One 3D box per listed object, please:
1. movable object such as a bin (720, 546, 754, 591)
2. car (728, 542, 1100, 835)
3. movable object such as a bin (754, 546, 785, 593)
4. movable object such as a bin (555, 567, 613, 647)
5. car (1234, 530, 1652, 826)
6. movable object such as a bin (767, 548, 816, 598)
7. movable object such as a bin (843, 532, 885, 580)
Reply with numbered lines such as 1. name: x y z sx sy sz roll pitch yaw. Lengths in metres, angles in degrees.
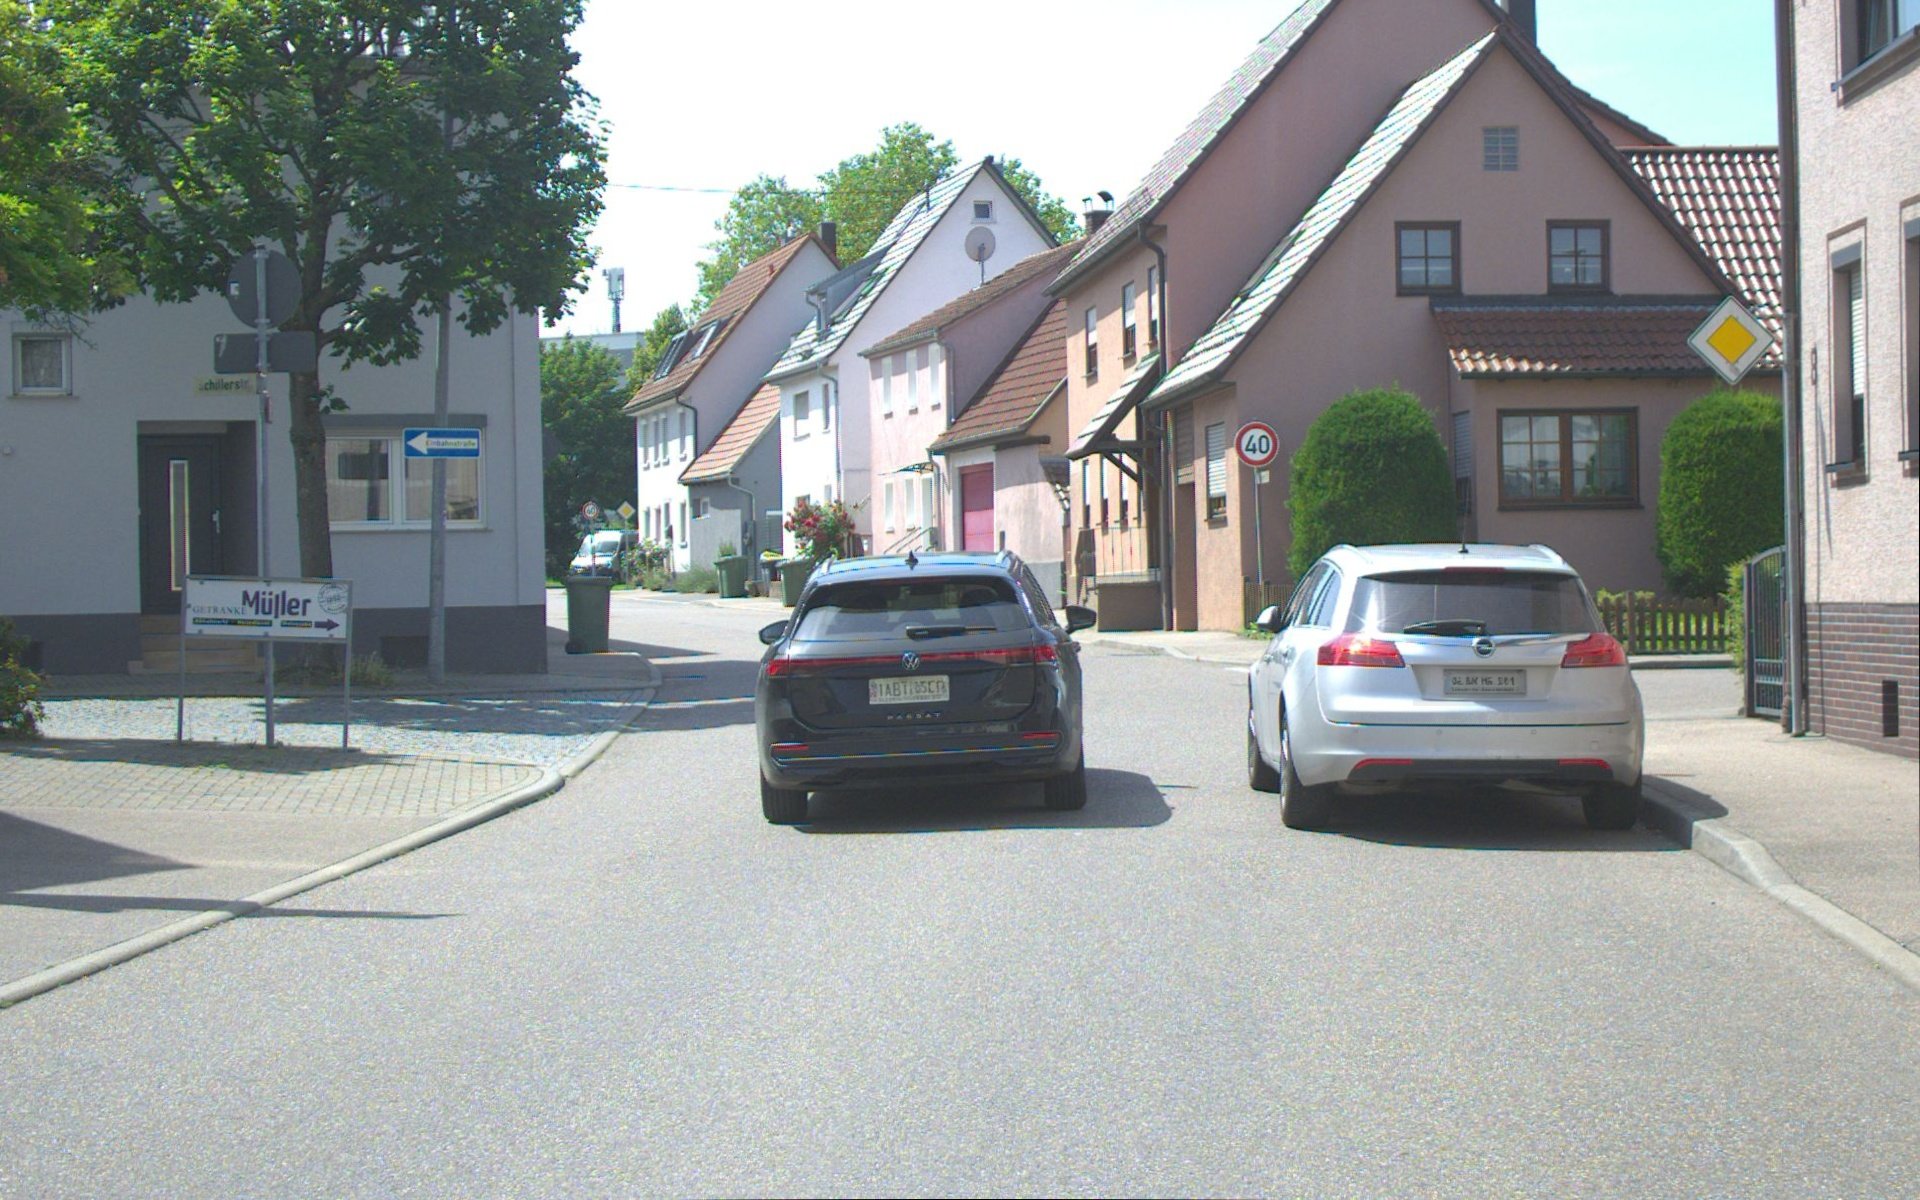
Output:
1. movable object such as a bin: -5.739 -0.811 88.482 0.678 1.151 0.820 0 0 -18
2. car: -0.262 0.412 19.923 1.841 1.415 4.683 -3 1 -1
3. movable object such as a bin: -4.900 -0.782 88.398 0.664 1.190 0.660 0 1 -14
4. movable object such as a bin: -5.052 0.085 46.140 0.753 1.056 0.680 0 1 -7
5. car: 2.539 0.344 19.022 1.785 1.437 4.337 1 1 1
6. movable object such as a bin: -3.889 -0.625 79.301 0.875 1.071 0.873 -5 2 -18
7. movable object such as a bin: -2.188 -1.007 78.378 0.678 1.046 0.835 -5 2 -18
